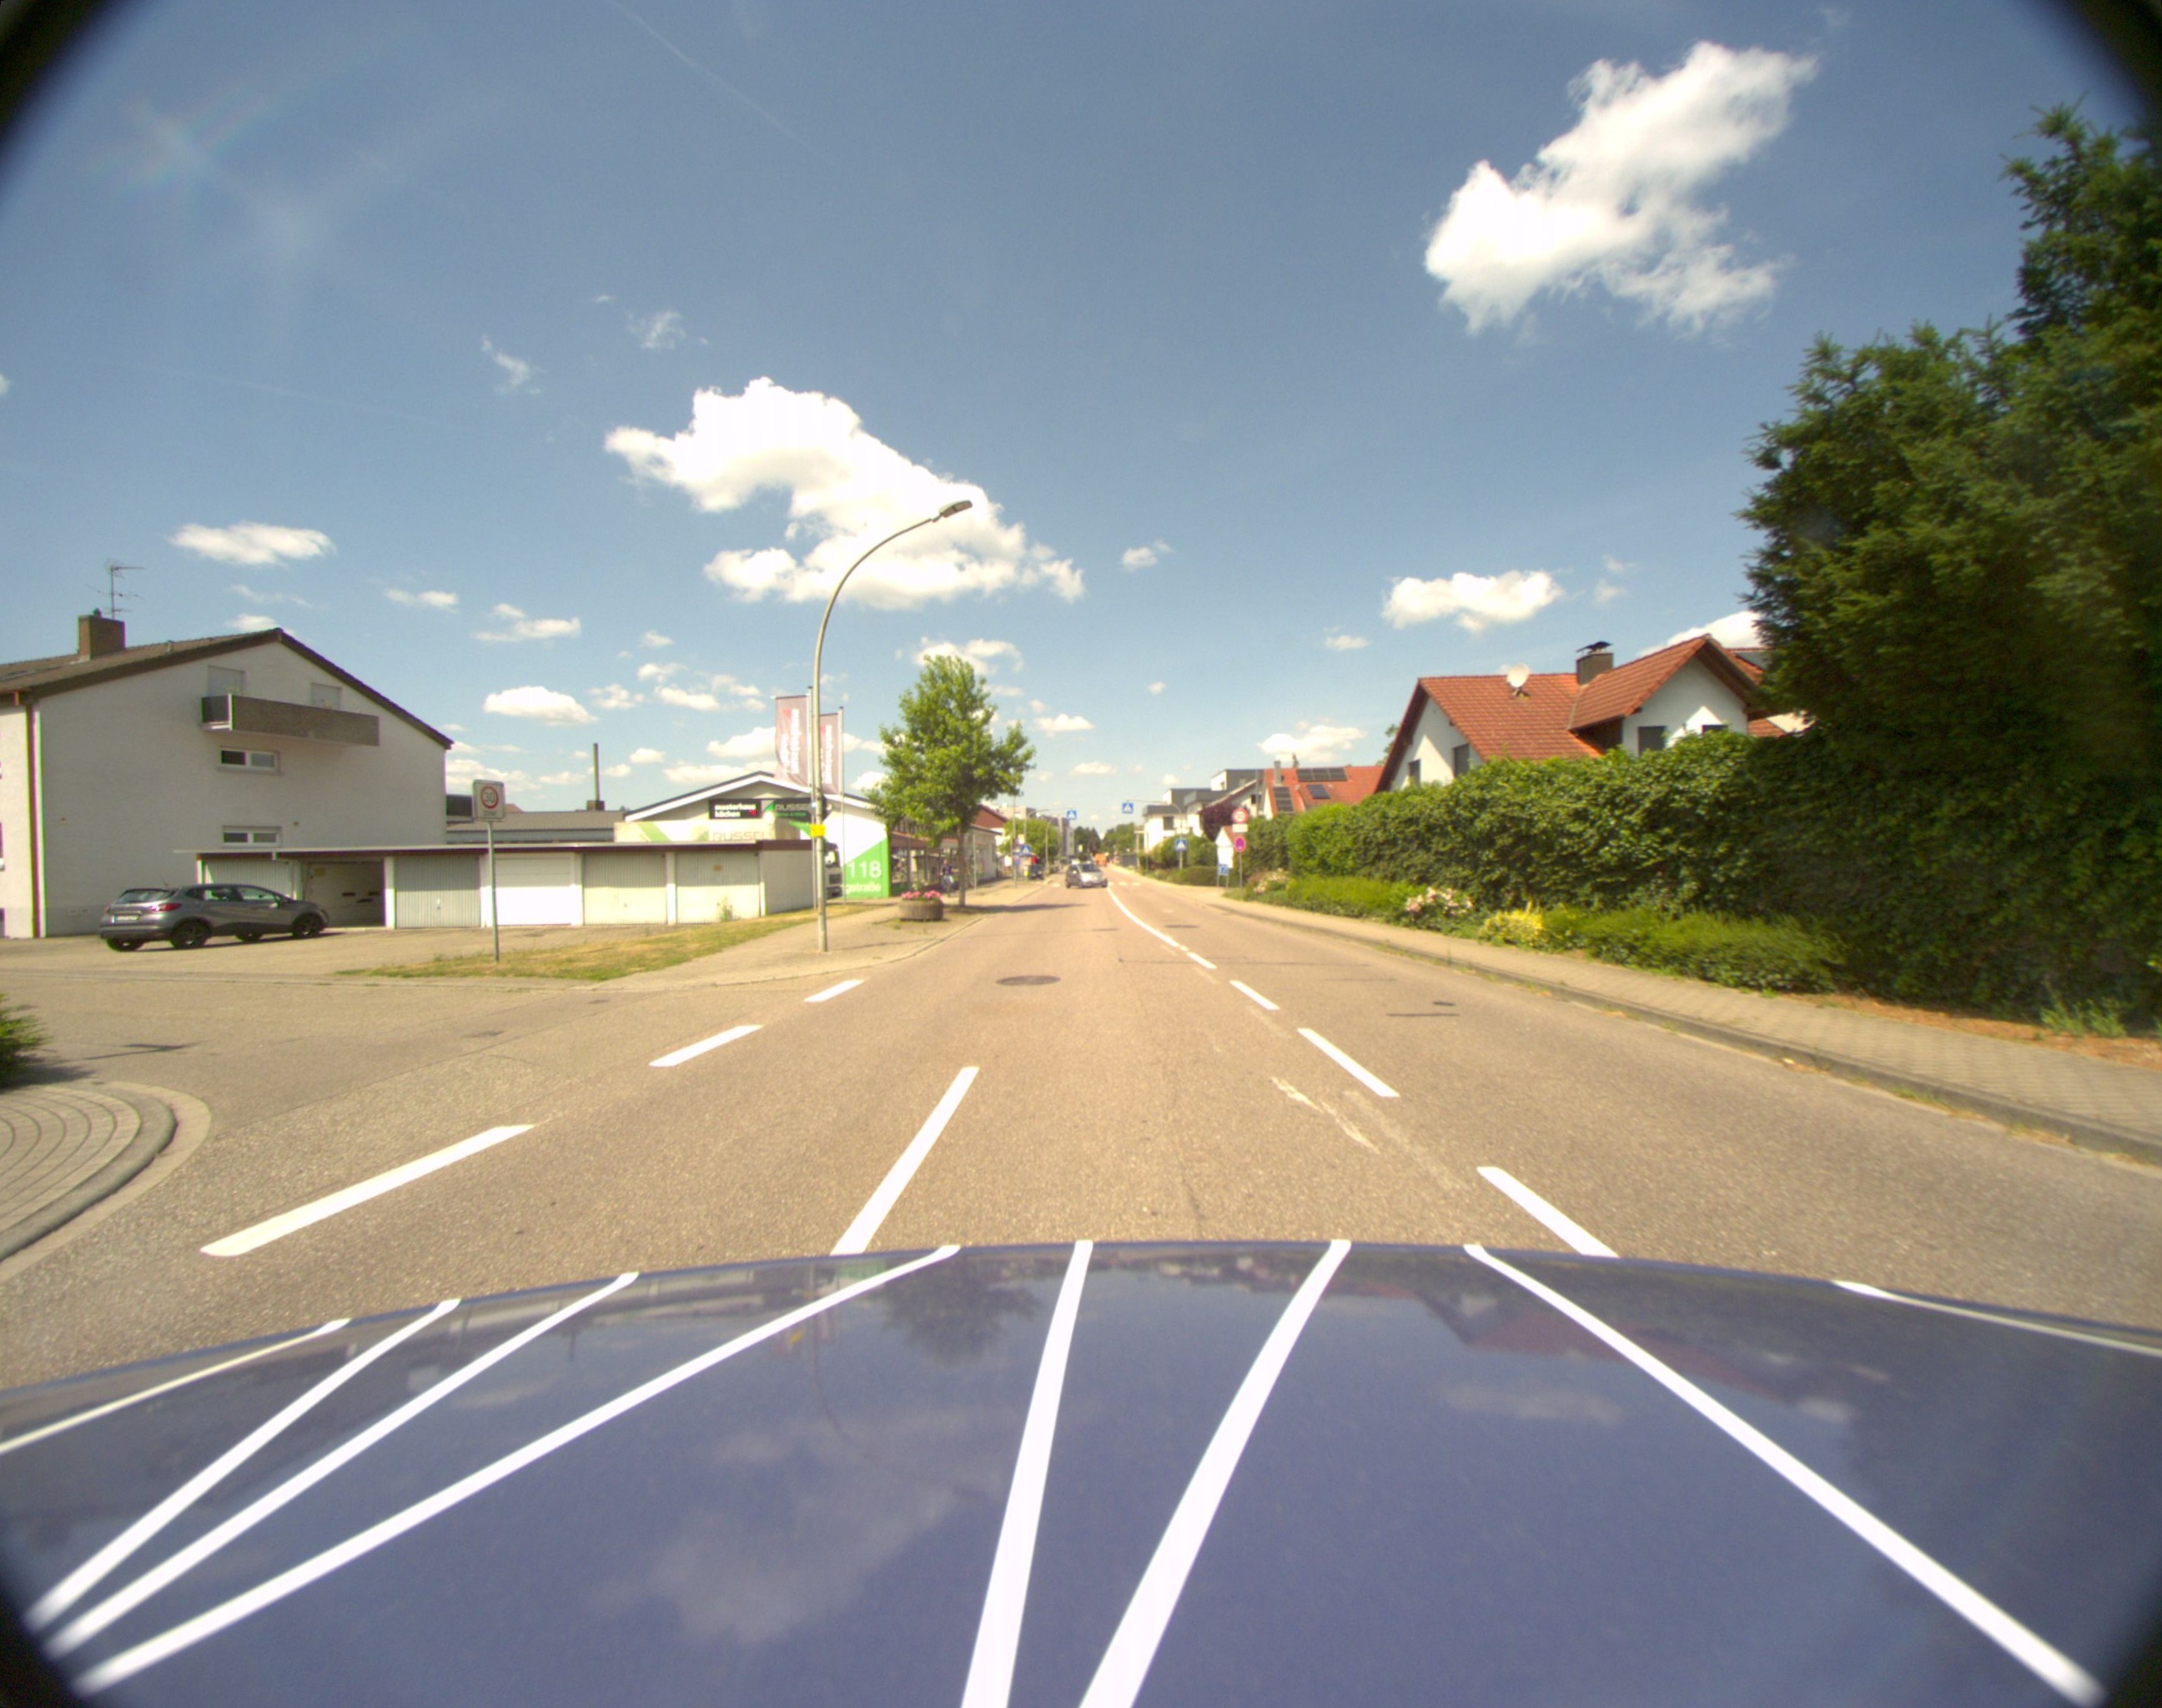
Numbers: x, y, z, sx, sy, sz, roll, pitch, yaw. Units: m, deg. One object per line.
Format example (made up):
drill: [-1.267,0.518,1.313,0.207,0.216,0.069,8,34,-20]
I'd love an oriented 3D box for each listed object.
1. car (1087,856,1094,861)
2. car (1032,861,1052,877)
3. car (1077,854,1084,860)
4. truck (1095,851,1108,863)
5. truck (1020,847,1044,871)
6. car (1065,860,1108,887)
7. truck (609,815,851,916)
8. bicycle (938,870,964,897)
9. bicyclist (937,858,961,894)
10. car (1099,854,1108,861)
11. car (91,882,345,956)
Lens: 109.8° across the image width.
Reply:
car: [2.557,1.269,207.417,1.728,1.484,3.761,0,0,5]
car: [-3.814,1.471,74.397,1.729,1.484,3.760,0,0,0]
car: [-0.081,0.682,185.067,1.729,1.484,3.760,0,0,1]
truck: [4.899,0.678,179.403,2.864,2.695,6.791,0,0,0]
truck: [-5.813,0.582,89.438,2.580,2.745,6.331,0,0,-5]
car: [0.279,1.210,48.394,1.725,1.590,3.755,-3,0,-15]
truck: [-13.660,0.409,30.055,8.191,3.552,2.677,-2,1,0]
bicycle: [-6.094,1.375,35.646,0.805,1.158,1.943,-4,-1,0]
bicyclist: [-6.133,1.015,35.405,0.805,1.620,1.112,-4,-1,0]
car: [4.776,0.775,159.296,1.799,1.480,3.613,0,0,0]
car: [-21.834,1.574,19.521,1.679,1.494,4.132,-1,0,2]
